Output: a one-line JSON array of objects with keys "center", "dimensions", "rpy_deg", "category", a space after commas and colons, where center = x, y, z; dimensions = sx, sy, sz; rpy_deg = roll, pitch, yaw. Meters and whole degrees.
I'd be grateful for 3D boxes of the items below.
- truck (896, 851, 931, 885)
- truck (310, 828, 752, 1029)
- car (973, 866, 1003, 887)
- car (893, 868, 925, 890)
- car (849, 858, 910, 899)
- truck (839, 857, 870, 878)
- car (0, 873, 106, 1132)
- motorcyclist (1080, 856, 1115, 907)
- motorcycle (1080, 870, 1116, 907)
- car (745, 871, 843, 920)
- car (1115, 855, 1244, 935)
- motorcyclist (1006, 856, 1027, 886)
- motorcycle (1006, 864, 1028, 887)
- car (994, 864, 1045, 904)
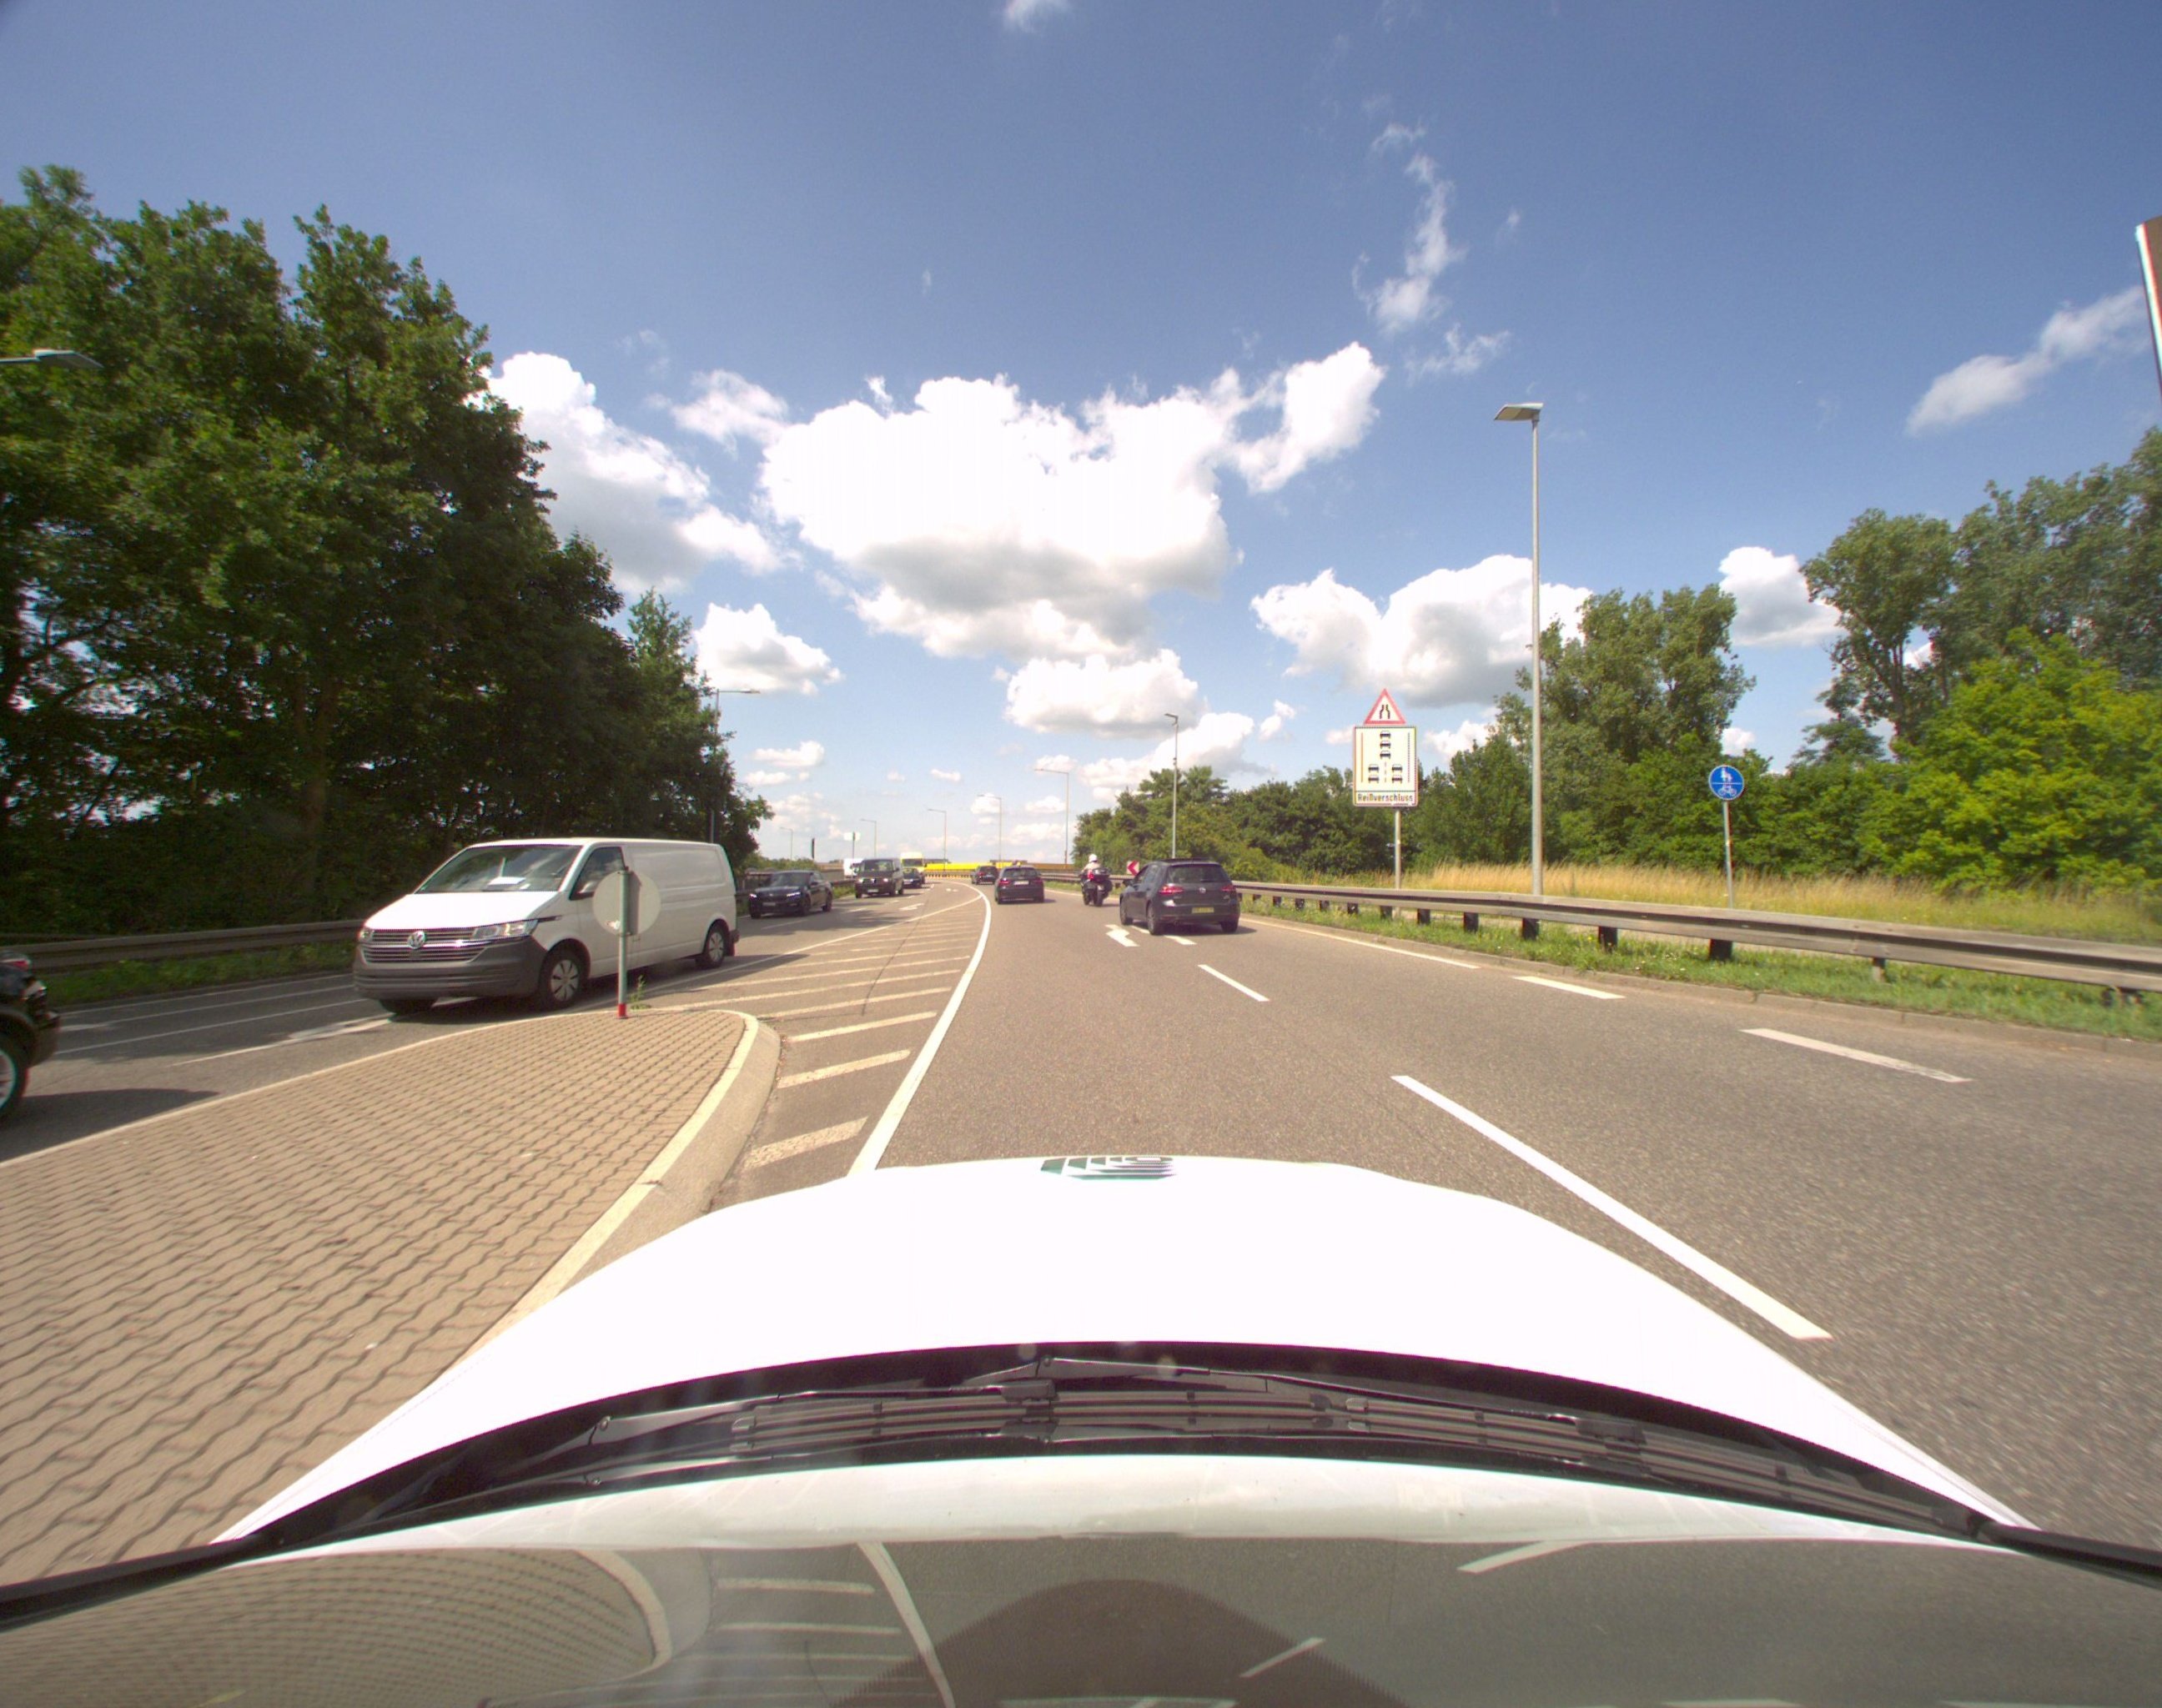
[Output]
[{"center": [-14.010, 1.139, 67.972], "dimensions": [2.000, 2.621, 6.063], "rpy_deg": [-2, 0, -19], "category": "truck"}, {"center": [-6.412, 0.747, 10.564], "dimensions": [1.953, 1.913, 5.372], "rpy_deg": [-1, -1, 2], "category": "truck"}, {"center": [-6.958, 1.695, 60.879], "dimensions": [1.646, 1.479, 3.851], "rpy_deg": [0, -1, -16], "category": "car"}, {"center": [-11.605, 1.648, 55.200], "dimensions": [1.797, 1.389, 3.996], "rpy_deg": [-1, -1, -7], "category": "car"}, {"center": [-10.126, 1.189, 41.279], "dimensions": [1.989, 1.913, 5.126], "rpy_deg": [-2, -1, -3], "category": "car"}, {"center": [-28.890, 1.735, 103.800], "dimensions": [2.008, 2.508, 5.884], "rpy_deg": [-1, -1, -34], "category": "truck"}, {"center": [-7.230, 0.899, 3.509], "dimensions": [1.696, 1.557, 3.813], "rpy_deg": [-1, -1, -7], "category": "car"}, {"center": [0.523, 0.879, 26.618], "dimensions": [0.966, 1.620, 1.121], "rpy_deg": [0, -1, -9], "category": "motorcyclist"}, {"center": [0.527, 1.090, 26.505], "dimensions": [0.789, 1.132, 2.392], "rpy_deg": [0, -1, -9], "category": "motorcycle"}, {"center": [-9.420, 1.305, 27.097], "dimensions": [1.629, 1.410, 4.339], "rpy_deg": [-2, -1, 1], "category": "car"}, {"center": [1.937, 0.807, 17.144], "dimensions": [1.642, 1.479, 3.858], "rpy_deg": [-1, -1, -10], "category": "car"}, {"center": [-3.551, 0.924, 44.714], "dimensions": [0.967, 1.596, 1.120], "rpy_deg": [0, -1, -13], "category": "motorcyclist"}, {"center": [-3.533, 1.155, 44.697], "dimensions": [0.888, 1.247, 2.388], "rpy_deg": [0, -1, -13], "category": "motorcycle"}, {"center": [-2.379, 1.117, 30.781], "dimensions": [1.681, 1.388, 3.728], "rpy_deg": [-1, -2, -8], "category": "car"}]
